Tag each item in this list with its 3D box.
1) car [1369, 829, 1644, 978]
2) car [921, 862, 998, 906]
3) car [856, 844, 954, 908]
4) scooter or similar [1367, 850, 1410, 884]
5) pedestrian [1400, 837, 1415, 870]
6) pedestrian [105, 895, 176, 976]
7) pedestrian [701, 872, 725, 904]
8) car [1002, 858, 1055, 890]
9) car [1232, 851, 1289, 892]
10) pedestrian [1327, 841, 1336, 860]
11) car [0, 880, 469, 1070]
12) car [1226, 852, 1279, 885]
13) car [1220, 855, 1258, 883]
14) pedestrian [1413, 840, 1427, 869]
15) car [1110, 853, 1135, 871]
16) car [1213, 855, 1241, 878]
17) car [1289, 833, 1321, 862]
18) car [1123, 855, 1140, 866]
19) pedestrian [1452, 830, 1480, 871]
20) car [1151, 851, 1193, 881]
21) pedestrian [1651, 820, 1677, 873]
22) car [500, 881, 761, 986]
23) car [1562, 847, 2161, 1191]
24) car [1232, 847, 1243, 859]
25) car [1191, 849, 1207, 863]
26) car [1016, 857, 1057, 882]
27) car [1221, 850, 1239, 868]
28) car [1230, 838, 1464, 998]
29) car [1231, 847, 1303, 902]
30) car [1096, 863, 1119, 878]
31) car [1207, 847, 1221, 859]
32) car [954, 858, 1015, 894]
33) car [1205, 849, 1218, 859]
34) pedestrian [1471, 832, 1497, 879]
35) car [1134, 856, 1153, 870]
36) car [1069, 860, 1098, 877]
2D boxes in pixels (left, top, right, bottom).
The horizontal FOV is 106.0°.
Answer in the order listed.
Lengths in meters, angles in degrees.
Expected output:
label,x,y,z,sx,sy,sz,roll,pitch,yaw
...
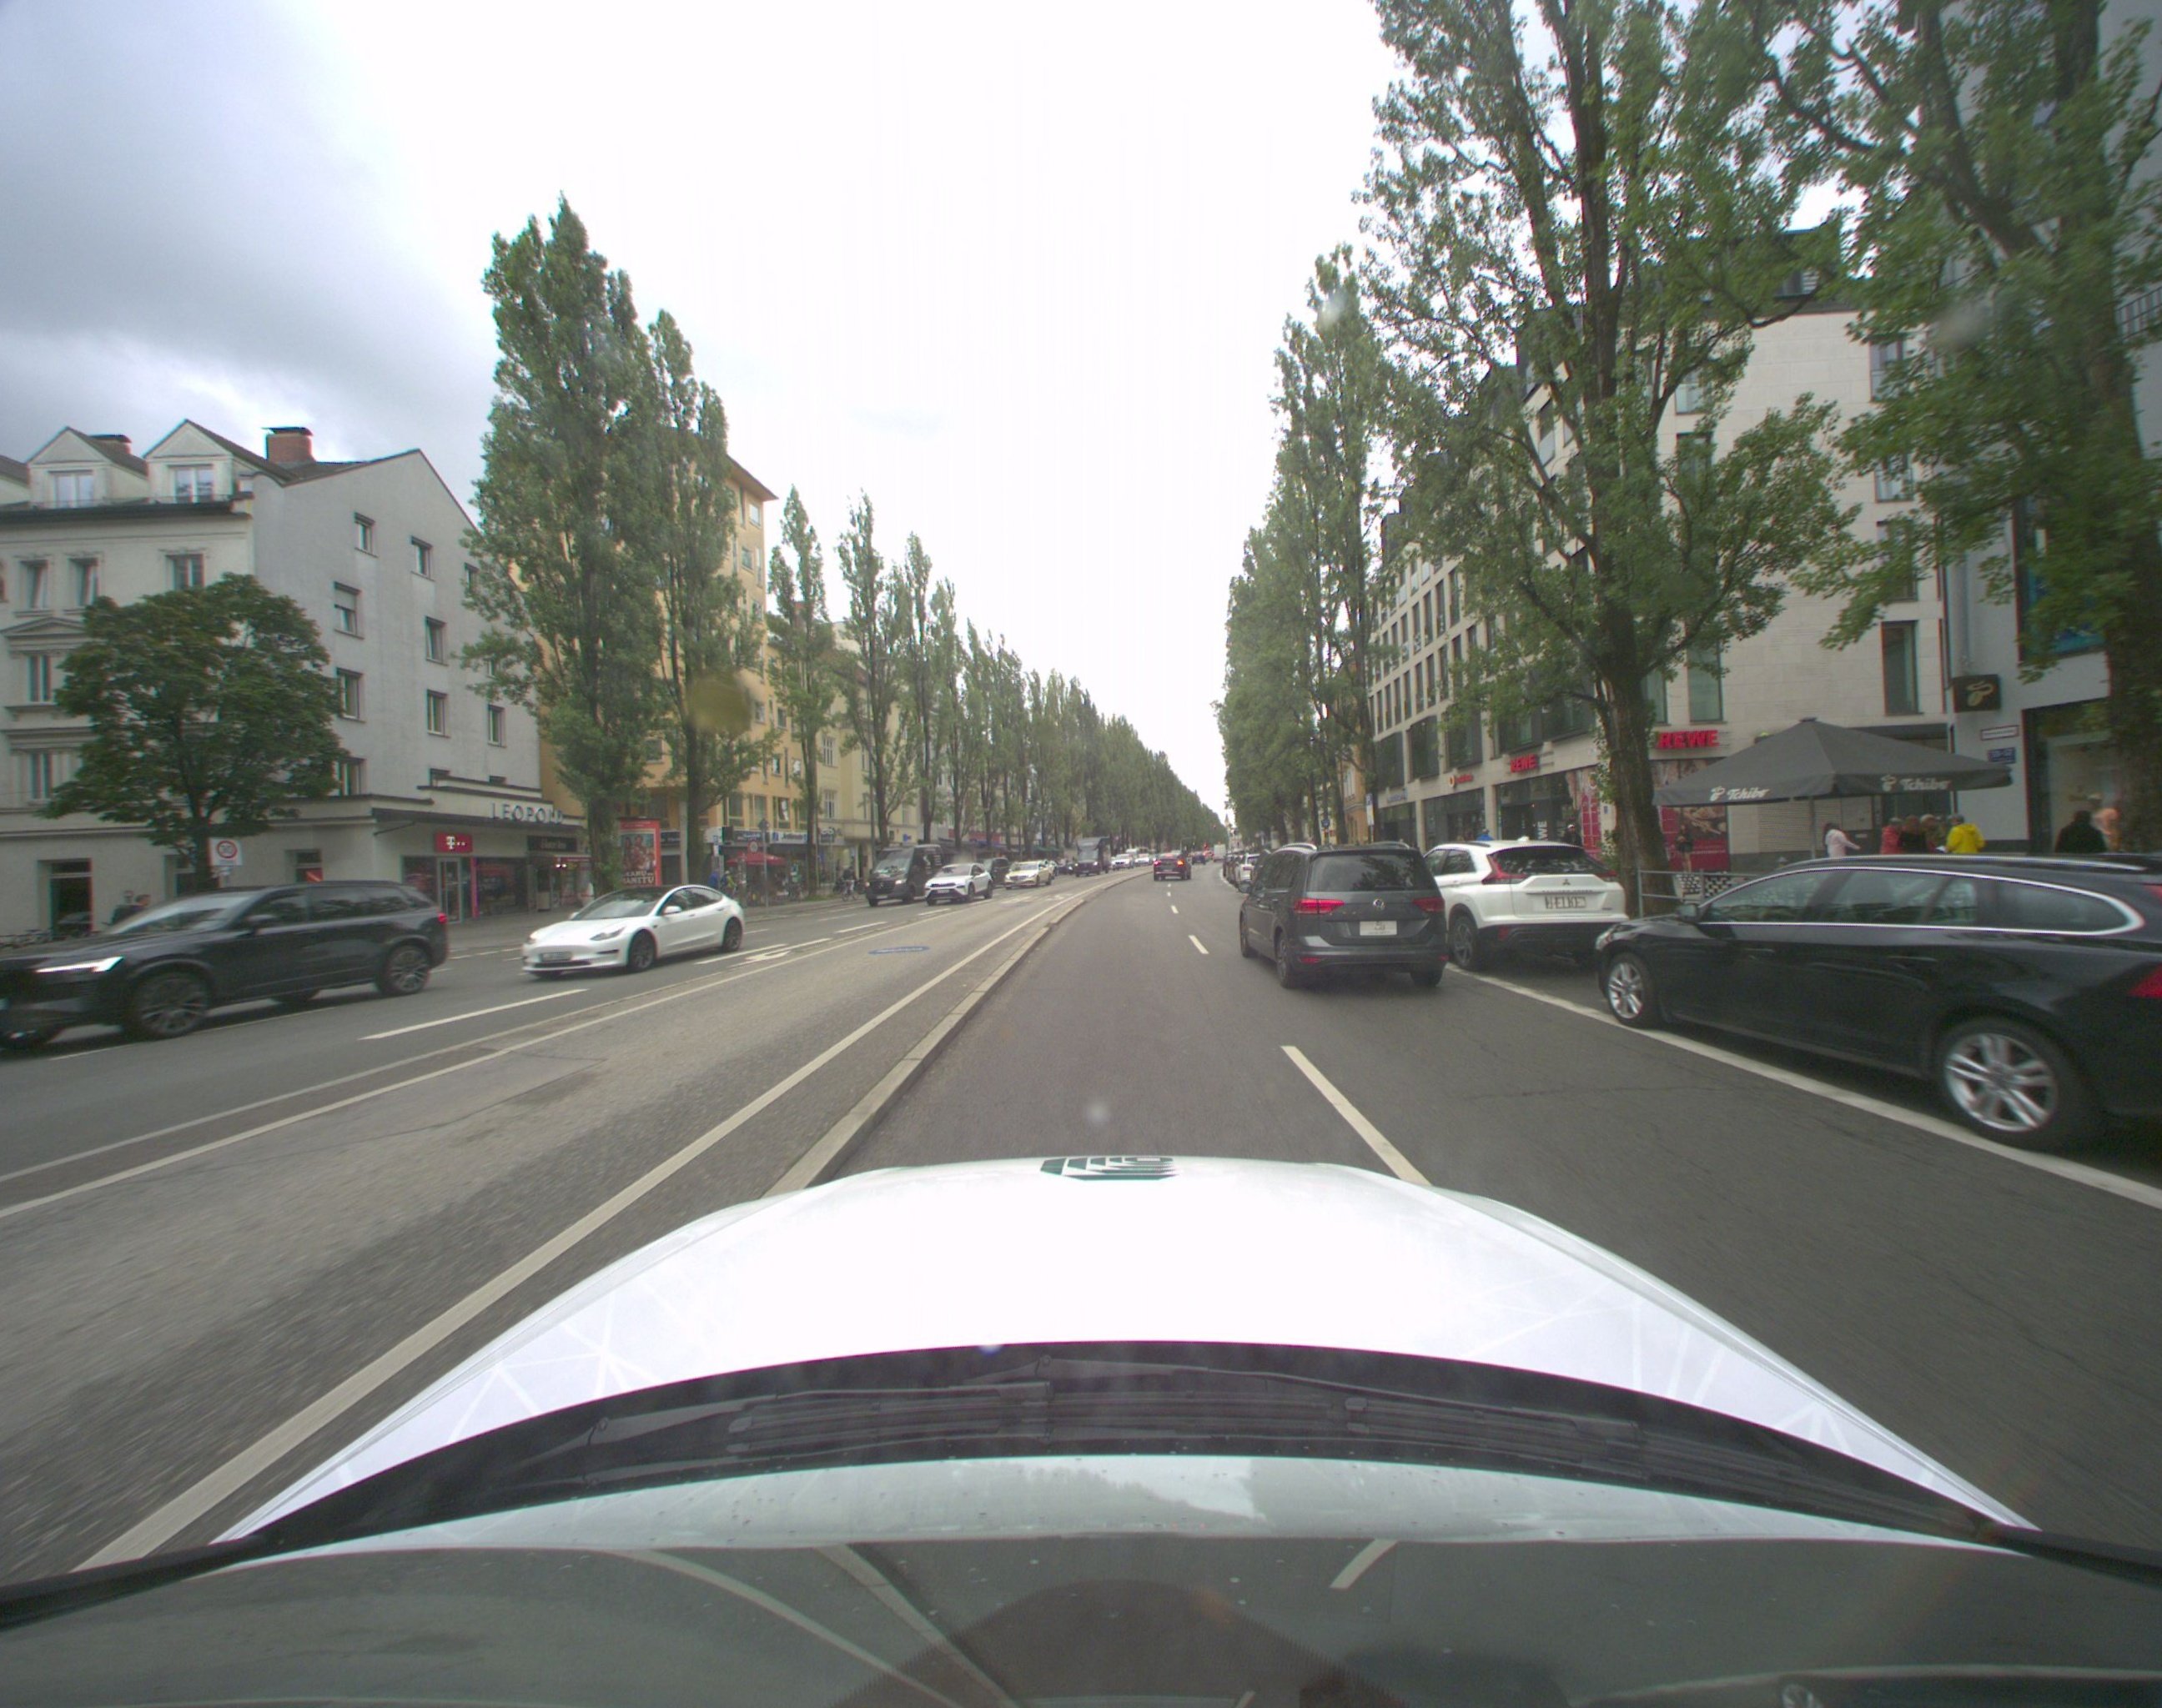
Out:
label,x,y,z,sx,sy,sz,roll,pitch,yaw
car,5.722,0.580,11.677,1.720,1.686,4.410,-2,0,2
car,-5.045,1.206,34.336,1.898,1.603,4.366,-3,0,9
car,-7.965,0.923,37.604,2.157,2.605,6.080,-3,0,10
scooter or similar,11.630,0.475,30.797,1.429,1.201,0.311,-3,0,1
pedestrian,16.711,-0.031,41.716,0.544,1.638,0.562,-3,0,35
pedestrian,-23.337,2.018,20.217,0.850,1.898,0.837,-3,0,21
pedestrian,-19.223,1.765,42.533,0.835,1.625,0.765,-1,-1,9
car,-3.017,1.153,47.985,1.982,1.589,5.207,-4,0,8
car,7.408,0.664,34.078,1.801,1.500,4.815,-3,0,7
pedestrian,21.735,-0.282,70.696,0.668,1.613,0.642,-3,0,13
car,-11.066,1.323,10.673,2.009,1.716,4.987,-3,0,4
car,8.378,0.664,40.113,1.921,1.450,4.811,-3,0,5
car,8.912,0.808,46.307,1.837,1.428,4.435,-2,0,8
pedestrian,17.429,0.015,41.841,0.497,1.491,0.551,-3,0,35
car,4.409,0.819,85.897,1.848,1.711,4.549,-4,0,11
car,9.991,0.834,55.943,1.723,1.394,4.444,-3,0,9
car,19.045,-0.581,68.988,1.884,2.328,4.851,-3,0,23
car,7.328,0.925,118.425,1.837,1.564,4.224,-3,-1,11
pedestrian,17.170,-0.162,36.324,0.795,1.772,0.679,-3,0,-14
car,5.539,0.690,49.125,1.867,1.642,4.600,-3,0,14
pedestrian,19.433,-0.243,27.138,0.427,1.751,0.465,-3,0,-22
car,-7.967,1.319,15.064,1.790,1.394,4.698,-3,0,6
car,5.453,0.686,5.499,1.765,1.433,4.571,-1,0,1
car,27.505,-0.096,143.300,1.793,1.992,4.012,-1,-1,11
car,14.661,0.291,100.963,1.748,1.619,3.758,-1,-1,11
car,-3.351,1.123,62.120,1.981,1.651,4.650,-4,0,10
car,14.334,0.491,78.528,1.613,1.565,4.384,-3,0,10
car,3.146,0.672,10.548,1.754,1.613,4.186,-2,0,2
car,6.336,0.678,28.219,1.915,1.700,4.658,-1,-1,7
car,3.108,1.944,95.557,1.927,1.493,4.469,-3,0,10
car,21.162,-0.202,129.425,1.980,1.717,4.014,-3,0,13
car,-5.761,1.310,49.626,1.981,1.863,5.728,-4,0,10
car,23.401,-0.050,145.671,1.980,1.717,4.014,-3,0,13
pedestrian,14.263,0.048,28.827,0.606,1.619,0.797,-4,0,16
car,8.084,1.152,105.008,1.927,1.642,4.476,-3,0,10
car,0.275,1.328,77.798,1.927,1.434,4.551,-3,0,10
